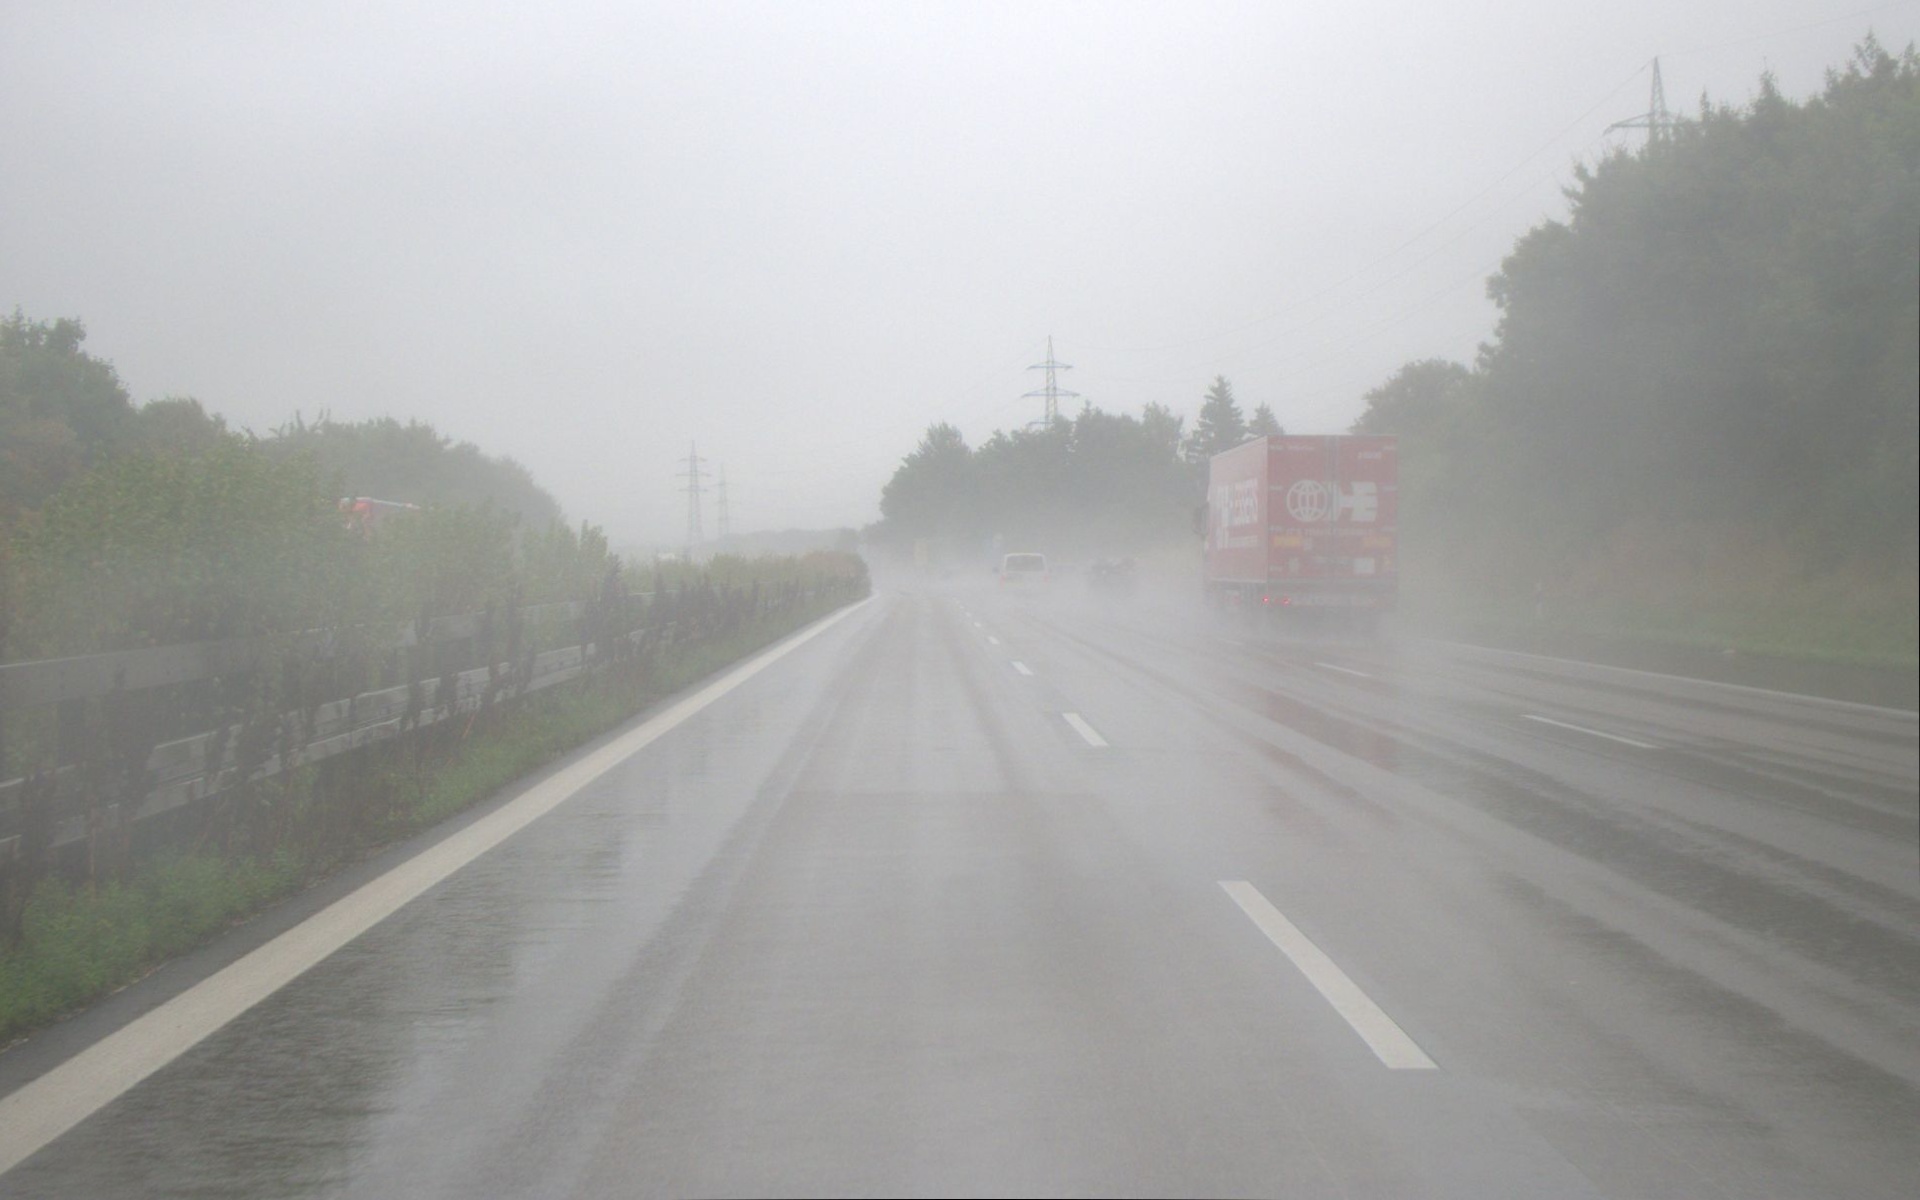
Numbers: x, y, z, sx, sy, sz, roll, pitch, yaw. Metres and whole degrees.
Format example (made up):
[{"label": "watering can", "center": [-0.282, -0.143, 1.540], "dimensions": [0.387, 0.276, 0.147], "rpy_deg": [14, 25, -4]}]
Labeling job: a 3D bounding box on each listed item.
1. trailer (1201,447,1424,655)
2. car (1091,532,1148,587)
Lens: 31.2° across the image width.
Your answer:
[{"label": "trailer", "center": [7.401, -1.018, 74.287], "dimensions": [2.620, 3.942, 13.632], "rpy_deg": [-3, 1, -3]}, {"label": "car", "center": [6.609, -1.669, 142.690], "dimensions": [1.807, 2.151, 4.001], "rpy_deg": [-3, 1, -4]}]
